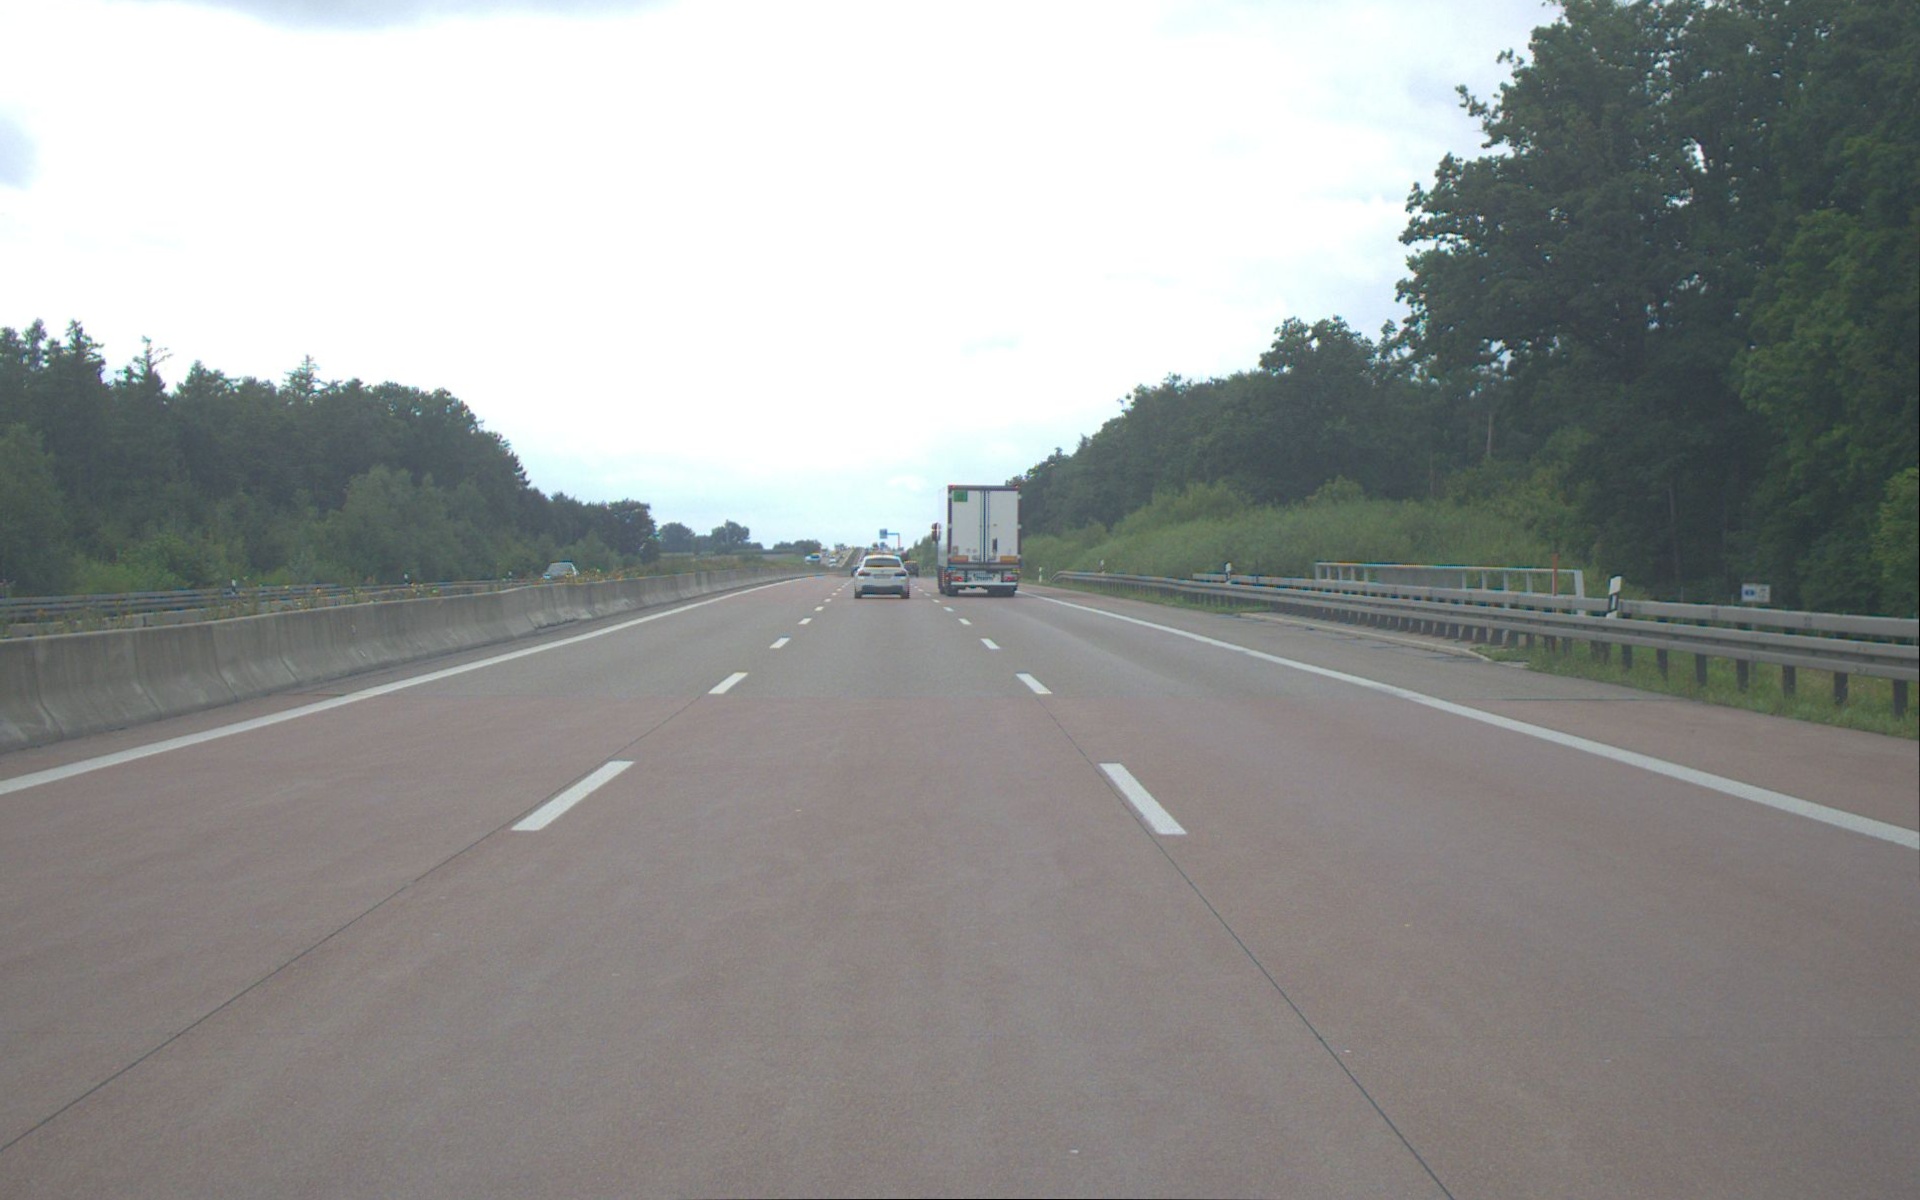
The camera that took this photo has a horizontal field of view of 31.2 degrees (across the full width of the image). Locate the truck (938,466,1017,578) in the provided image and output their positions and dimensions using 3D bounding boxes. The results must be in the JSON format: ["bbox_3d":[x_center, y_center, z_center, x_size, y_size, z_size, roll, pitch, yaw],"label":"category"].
[{"bbox_3d":[0.669,-3.030,135.034,2.921,4.279,5.335,0,0,-1],"label":"truck"}]

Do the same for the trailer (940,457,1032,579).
[{"bbox_3d":[0.875,-2.938,127.357,2.921,4.279,13.614,0,0,-1],"label":"trailer"}]

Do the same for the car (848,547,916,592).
[{"bbox_3d":[-2.628,-1.040,117.212,2.163,1.446,4.719,1,1,0],"label":"car"}]
